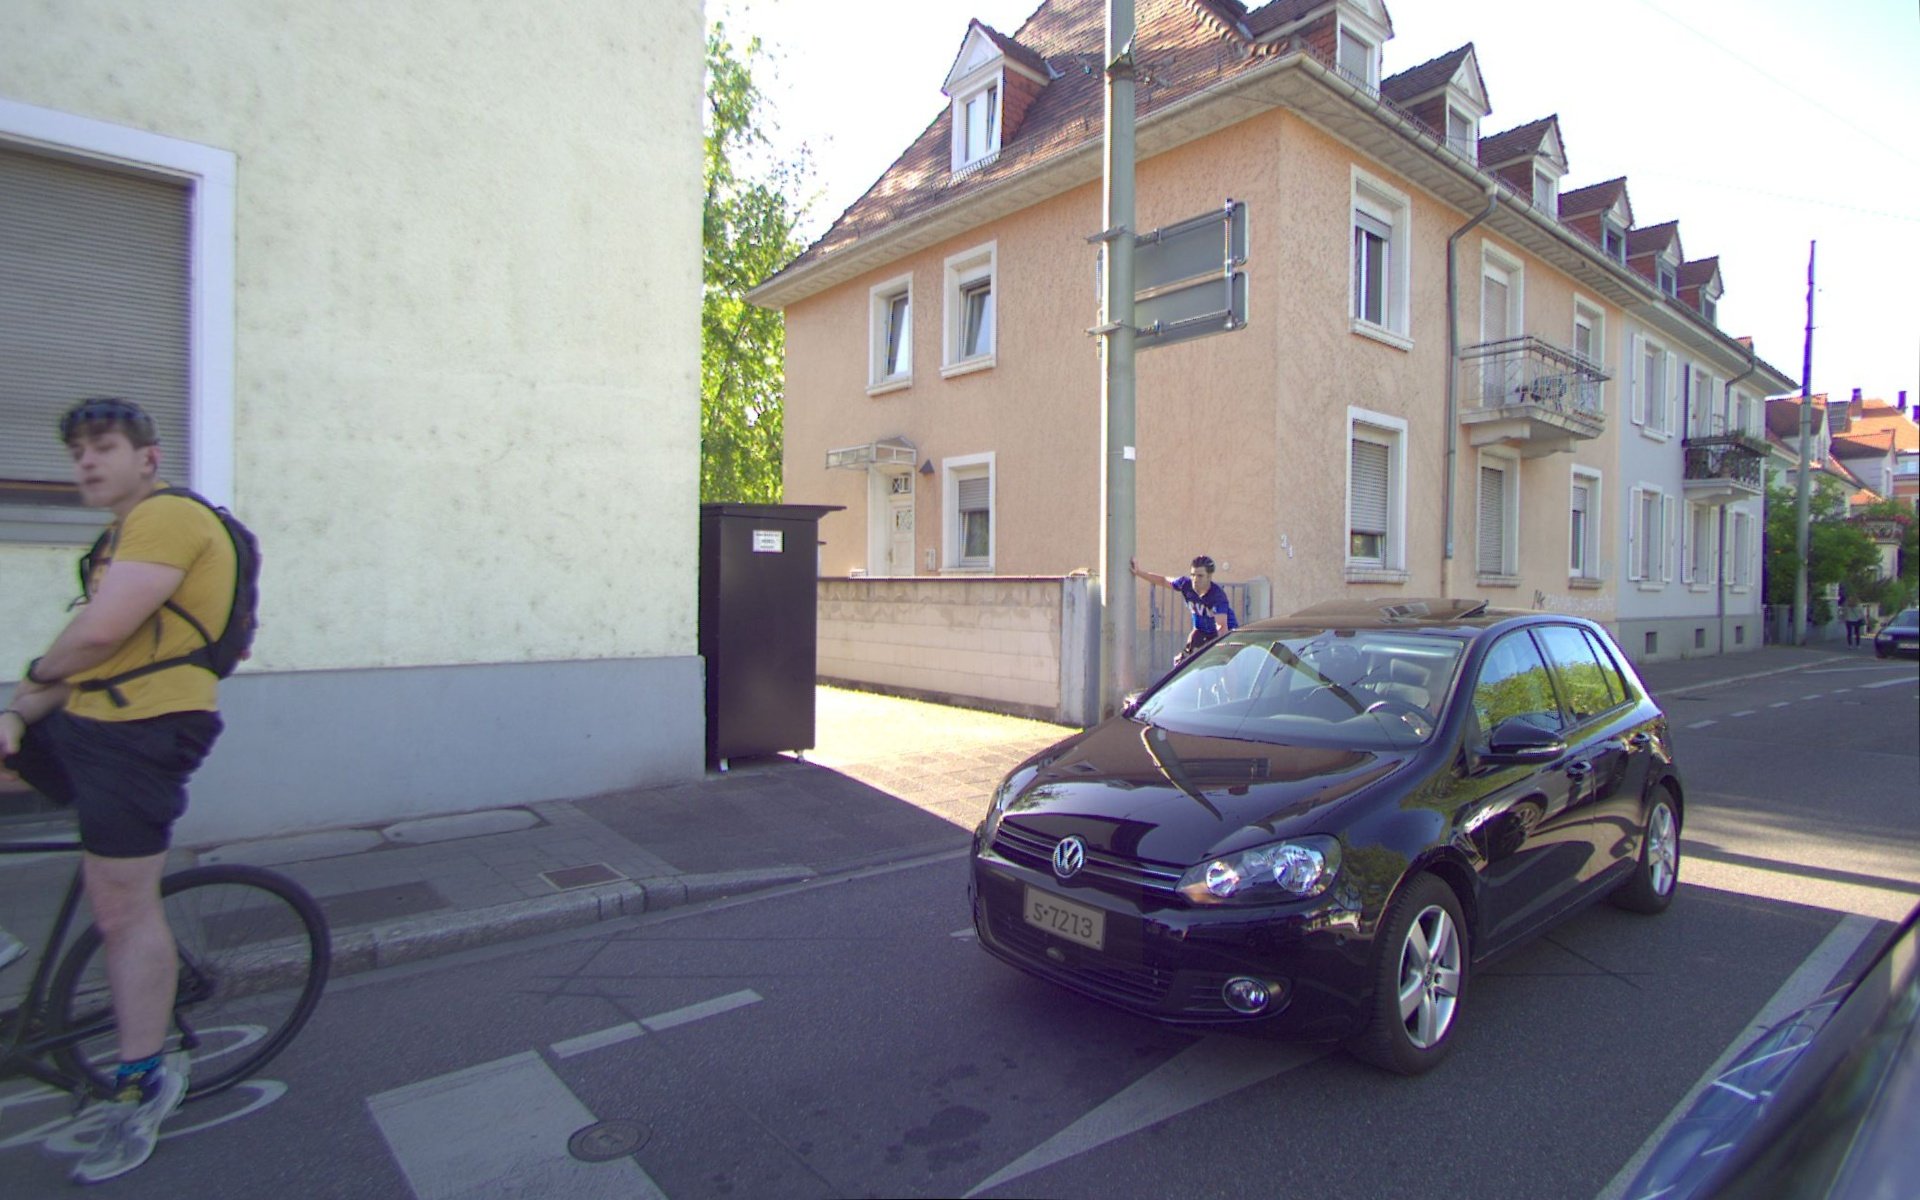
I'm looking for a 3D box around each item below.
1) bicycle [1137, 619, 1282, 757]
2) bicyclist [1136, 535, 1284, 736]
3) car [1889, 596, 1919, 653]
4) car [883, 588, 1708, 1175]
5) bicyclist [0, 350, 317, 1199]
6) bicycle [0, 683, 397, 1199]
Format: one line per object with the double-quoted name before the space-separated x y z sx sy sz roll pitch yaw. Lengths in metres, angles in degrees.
"bicycle" 2.334 0.761 9.370 0.554 1.088 1.601 6 4 42
"bicyclist" 2.310 0.287 9.389 1.018 1.714 0.718 6 4 42
"car" 26.773 0.625 27.442 4.258 1.448 1.824 -1 0 -40
"car" 1.742 0.686 4.476 3.921 1.456 1.716 -1 0 -41
"bicyclist" -2.371 0.413 2.793 0.777 1.991 0.768 0 0 36
"bicycle" -2.518 0.854 2.590 0.777 1.120 1.720 0 0 36
